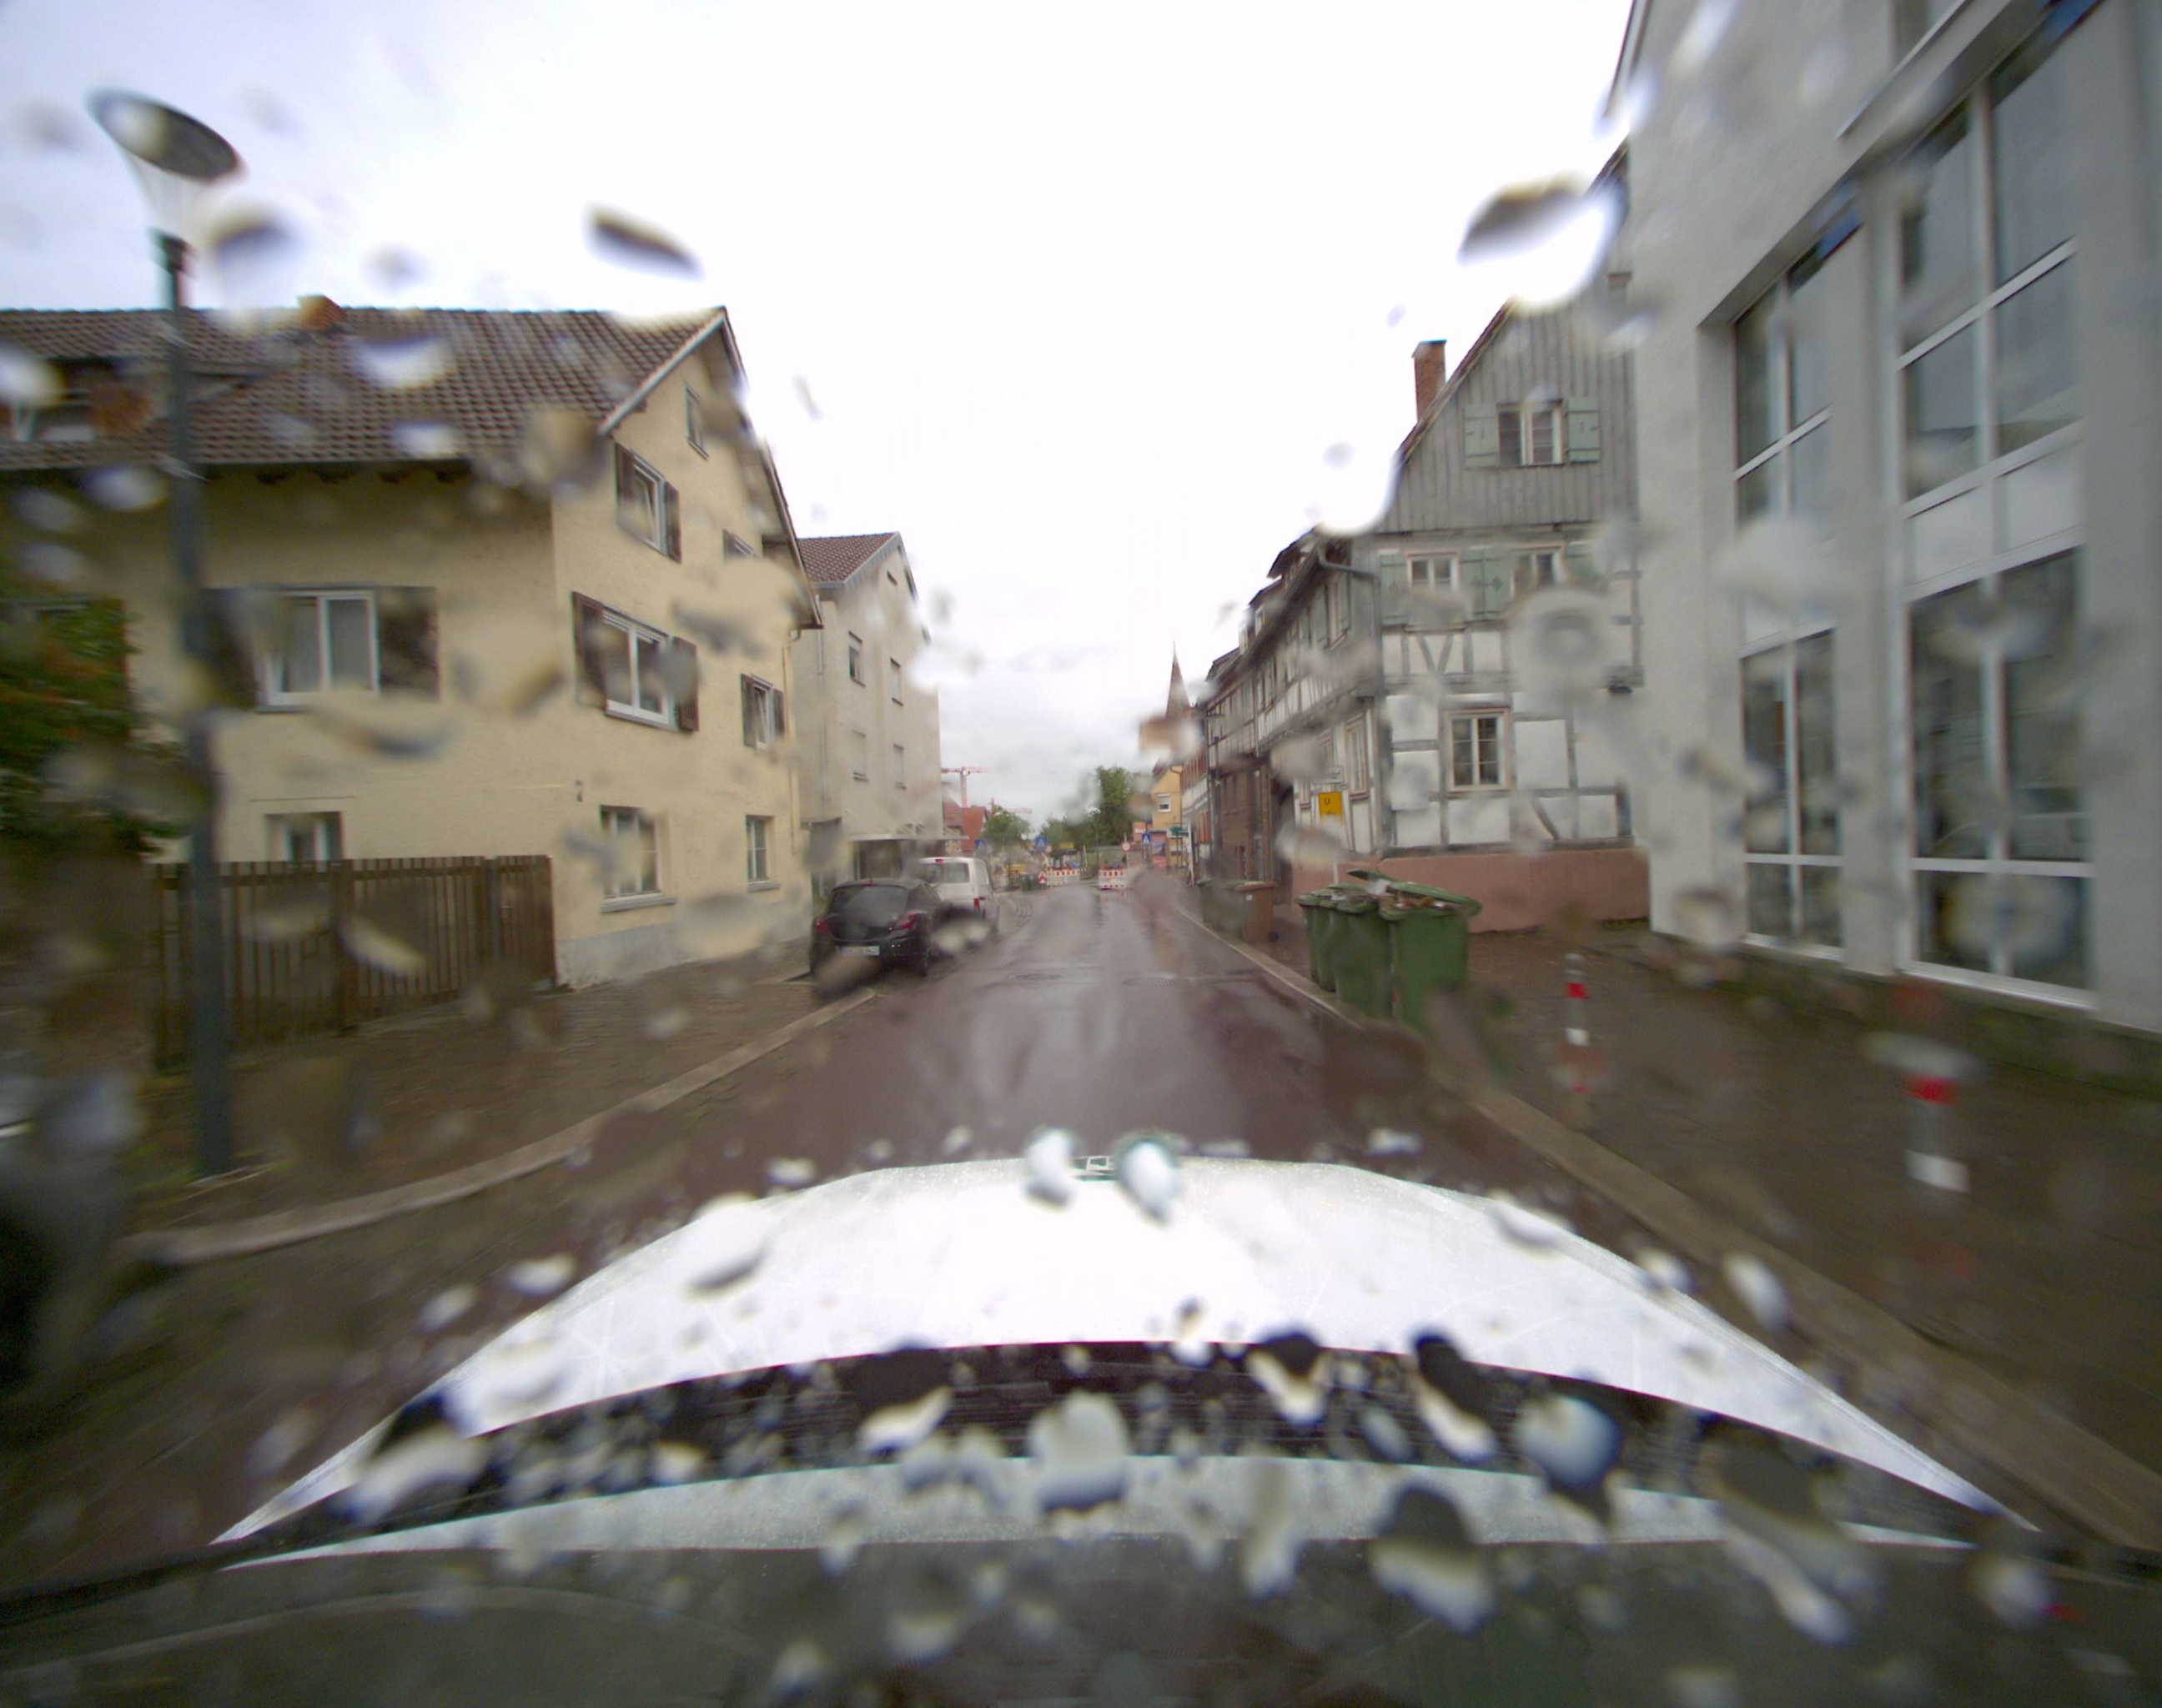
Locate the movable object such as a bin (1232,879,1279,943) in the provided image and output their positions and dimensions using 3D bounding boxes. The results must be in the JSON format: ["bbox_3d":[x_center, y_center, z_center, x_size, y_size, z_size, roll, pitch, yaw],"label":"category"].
[{"bbox_3d":[3.166,1.021,14.811,0.676,1.096,0.650,-1,-1,-2],"label":"movable object such as a bin"}]

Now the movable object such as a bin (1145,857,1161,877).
[{"bbox_3d":[5.863,1.036,66.034,1.059,1.512,1.245,-5,0,9],"label":"movable object such as a bin"}]

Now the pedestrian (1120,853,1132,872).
[{"bbox_3d":[4.241,0.833,76.639,0.988,1.759,0.850,-2,-1,-5],"label":"pedestrian"}]

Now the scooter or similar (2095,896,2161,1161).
[{"bbox_3d":[4.964,0.756,3.023,0.661,1.146,1.449,-2,-1,9],"label":"scooter or similar"}]

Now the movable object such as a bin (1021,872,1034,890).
[{"bbox_3d":[-3.275,1.648,49.956,0.535,1.037,0.576,-5,-3,35],"label":"movable object such as a bin"}]

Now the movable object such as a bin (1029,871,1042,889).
[{"bbox_3d":[-2.778,1.589,49.626,0.538,1.033,0.538,-5,-3,35],"label":"movable object such as a bin"}]

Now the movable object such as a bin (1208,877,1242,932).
[{"bbox_3d":[3.073,1.070,17.426,0.634,1.147,0.605,-2,-1,6],"label":"movable object such as a bin"}]

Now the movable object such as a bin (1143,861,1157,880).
[{"bbox_3d":[4.066,0.983,47.787,0.678,1.066,0.538,-4,0,-6],"label":"movable object such as a bin"}]

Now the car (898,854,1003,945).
[{"bbox_3d":[-2.915,0.972,19.029,1.718,1.825,4.426,-2,-1,-1],"label":"car"}]

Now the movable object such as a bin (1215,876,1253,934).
[{"bbox_3d":[3.141,1.041,16.759,0.636,1.147,0.632,-2,-1,-1],"label":"movable object such as a bin"}]

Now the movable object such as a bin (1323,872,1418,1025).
[{"bbox_3d":[2.573,0.820,7.301,0.634,1.290,0.633,-2,-1,6],"label":"movable object such as a bin"}]

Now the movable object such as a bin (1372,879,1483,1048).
[{"bbox_3d":[2.798,0.862,6.633,0.634,1.290,0.633,-2,-1,6],"label":"movable object such as a bin"}]

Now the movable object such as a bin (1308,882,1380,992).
[{"bbox_3d":[2.864,0.894,8.926,0.613,1.131,0.633,-2,-1,7],"label":"movable object such as a bin"}]

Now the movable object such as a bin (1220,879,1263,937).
[{"bbox_3d":[3.170,1.054,16.102,0.667,1.081,0.587,-3,-2,0],"label":"movable object such as a bin"}]

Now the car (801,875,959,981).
[{"bbox_3d":[-3.077,1.074,13.231,1.676,1.389,3.822,-2,-1,-2],"label":"car"}]

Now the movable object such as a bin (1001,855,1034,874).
[{"bbox_3d":[-7.336,1.221,94.993,3.388,2.014,3.481,-2,-1,3],"label":"movable object such as a bin"}]

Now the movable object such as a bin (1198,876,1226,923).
[{"bbox_3d":[3.269,1.129,20.356,0.607,1.128,0.599,-2,-1,1],"label":"movable object such as a bin"}]

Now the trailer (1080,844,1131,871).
[{"bbox_3d":[2.857,0.448,96.540,5.769,2.947,1.997,-2,-1,-4],"label":"trailer"}]

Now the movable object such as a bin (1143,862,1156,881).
[{"bbox_3d":[4.060,1.024,48.335,0.611,1.066,0.542,-4,-2,18],"label":"movable object such as a bin"}]

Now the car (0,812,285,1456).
[{"bbox_3d":[-3.541,0.686,0.483,1.774,1.569,4.407,-2,-1,0],"label":"car"}]

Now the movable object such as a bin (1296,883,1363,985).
[{"bbox_3d":[2.913,0.924,9.587,0.613,1.131,0.633,-2,-1,6],"label":"movable object such as a bin"}]

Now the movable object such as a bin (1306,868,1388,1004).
[{"bbox_3d":[2.645,0.793,8.155,0.634,1.290,0.633,-2,-1,6],"label":"movable object such as a bin"}]

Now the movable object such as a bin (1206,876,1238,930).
[{"bbox_3d":[3.123,1.072,18.054,0.634,1.147,0.581,-2,-1,6],"label":"movable object such as a bin"}]
